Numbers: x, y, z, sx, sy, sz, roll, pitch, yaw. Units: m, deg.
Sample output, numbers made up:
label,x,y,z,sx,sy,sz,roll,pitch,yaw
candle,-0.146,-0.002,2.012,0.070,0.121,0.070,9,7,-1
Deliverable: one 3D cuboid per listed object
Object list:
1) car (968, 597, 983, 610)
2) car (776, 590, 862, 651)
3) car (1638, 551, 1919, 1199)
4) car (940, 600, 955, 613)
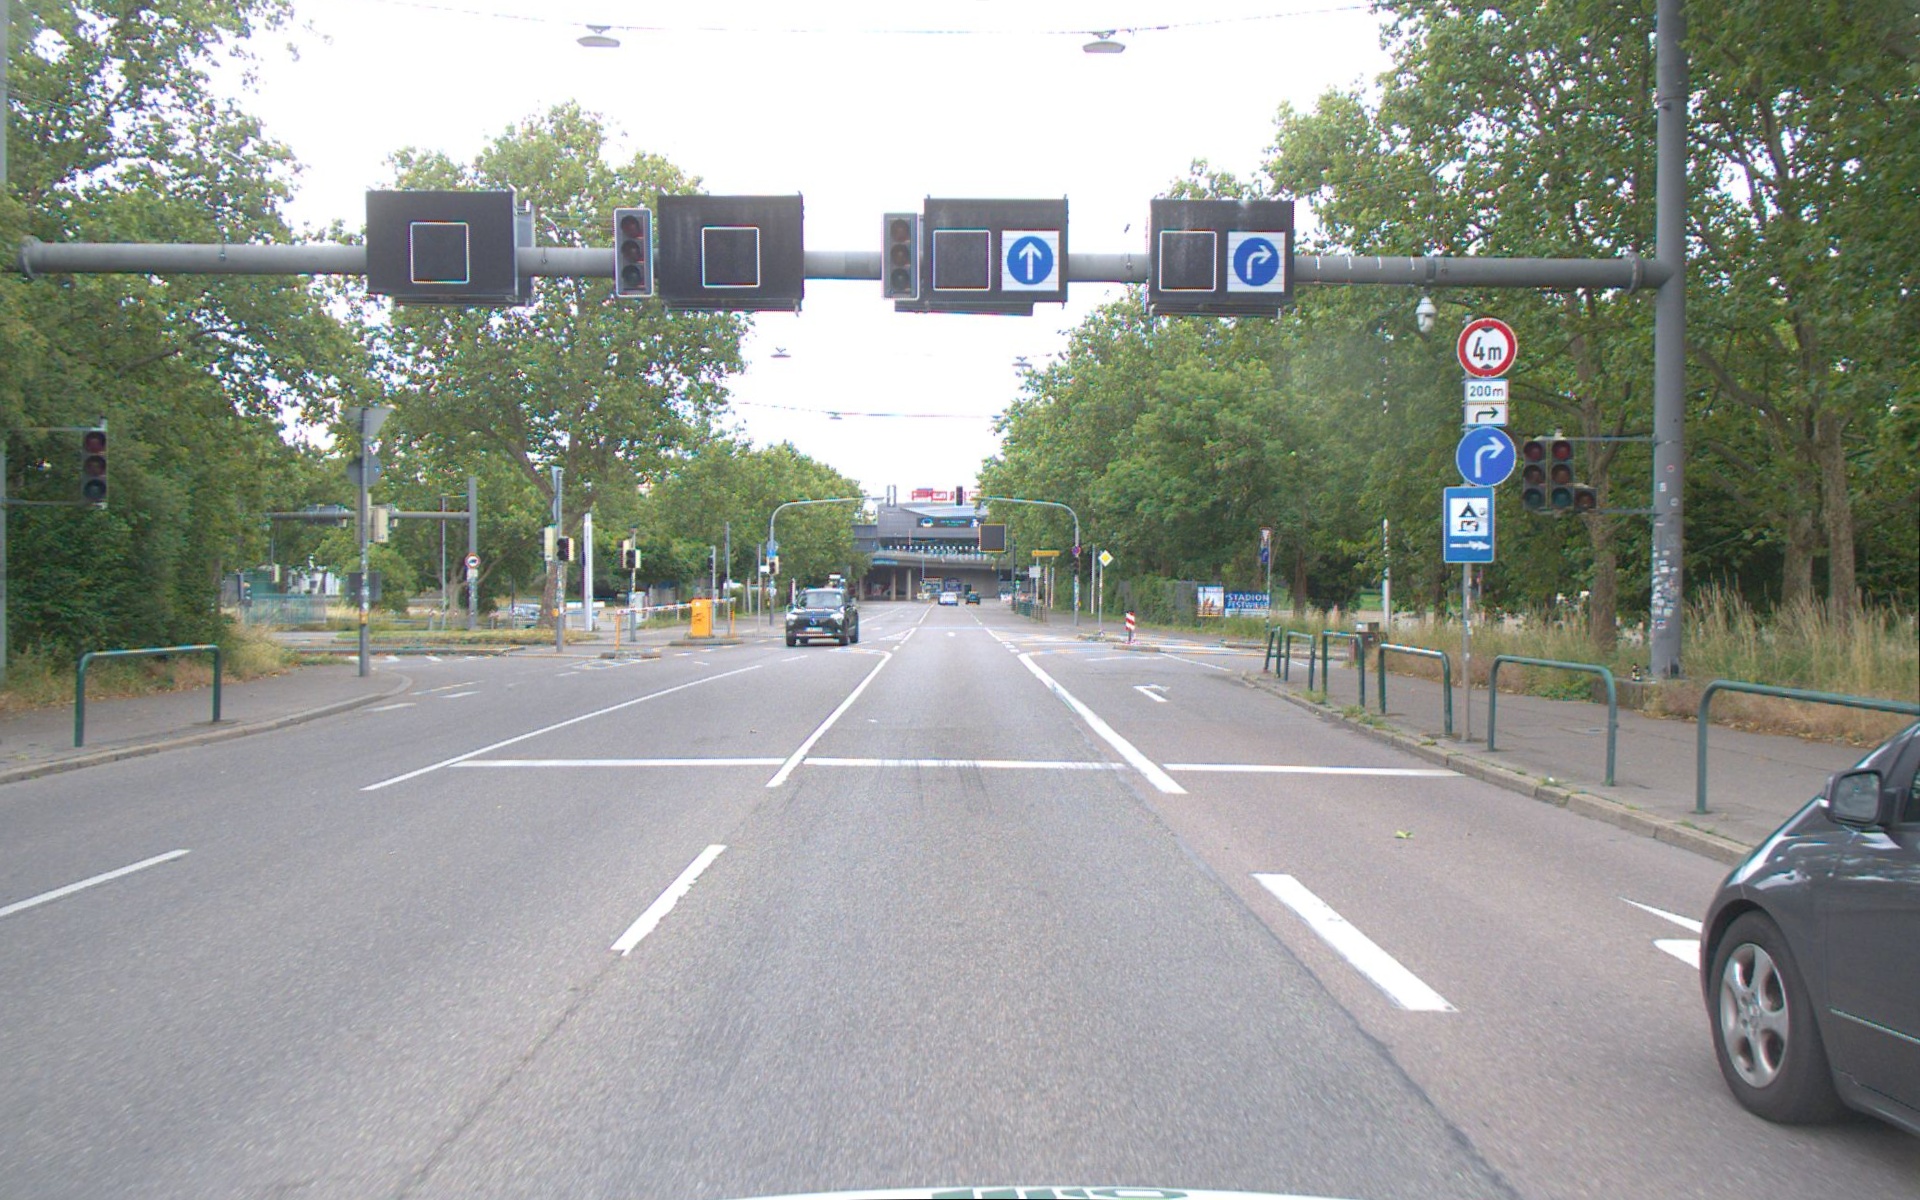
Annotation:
label,x,y,z,sx,sy,sz,roll,pitch,yaw
car,2.084,0.433,222.132,1.966,1.728,4.070,1,0,1
car,-4.133,0.570,49.155,1.952,1.689,4.518,-1,0,2
car,3.320,0.716,3.863,1.789,1.644,4.034,1,1,0
car,-1.482,0.789,198.351,1.742,1.486,3.822,2,0,1
